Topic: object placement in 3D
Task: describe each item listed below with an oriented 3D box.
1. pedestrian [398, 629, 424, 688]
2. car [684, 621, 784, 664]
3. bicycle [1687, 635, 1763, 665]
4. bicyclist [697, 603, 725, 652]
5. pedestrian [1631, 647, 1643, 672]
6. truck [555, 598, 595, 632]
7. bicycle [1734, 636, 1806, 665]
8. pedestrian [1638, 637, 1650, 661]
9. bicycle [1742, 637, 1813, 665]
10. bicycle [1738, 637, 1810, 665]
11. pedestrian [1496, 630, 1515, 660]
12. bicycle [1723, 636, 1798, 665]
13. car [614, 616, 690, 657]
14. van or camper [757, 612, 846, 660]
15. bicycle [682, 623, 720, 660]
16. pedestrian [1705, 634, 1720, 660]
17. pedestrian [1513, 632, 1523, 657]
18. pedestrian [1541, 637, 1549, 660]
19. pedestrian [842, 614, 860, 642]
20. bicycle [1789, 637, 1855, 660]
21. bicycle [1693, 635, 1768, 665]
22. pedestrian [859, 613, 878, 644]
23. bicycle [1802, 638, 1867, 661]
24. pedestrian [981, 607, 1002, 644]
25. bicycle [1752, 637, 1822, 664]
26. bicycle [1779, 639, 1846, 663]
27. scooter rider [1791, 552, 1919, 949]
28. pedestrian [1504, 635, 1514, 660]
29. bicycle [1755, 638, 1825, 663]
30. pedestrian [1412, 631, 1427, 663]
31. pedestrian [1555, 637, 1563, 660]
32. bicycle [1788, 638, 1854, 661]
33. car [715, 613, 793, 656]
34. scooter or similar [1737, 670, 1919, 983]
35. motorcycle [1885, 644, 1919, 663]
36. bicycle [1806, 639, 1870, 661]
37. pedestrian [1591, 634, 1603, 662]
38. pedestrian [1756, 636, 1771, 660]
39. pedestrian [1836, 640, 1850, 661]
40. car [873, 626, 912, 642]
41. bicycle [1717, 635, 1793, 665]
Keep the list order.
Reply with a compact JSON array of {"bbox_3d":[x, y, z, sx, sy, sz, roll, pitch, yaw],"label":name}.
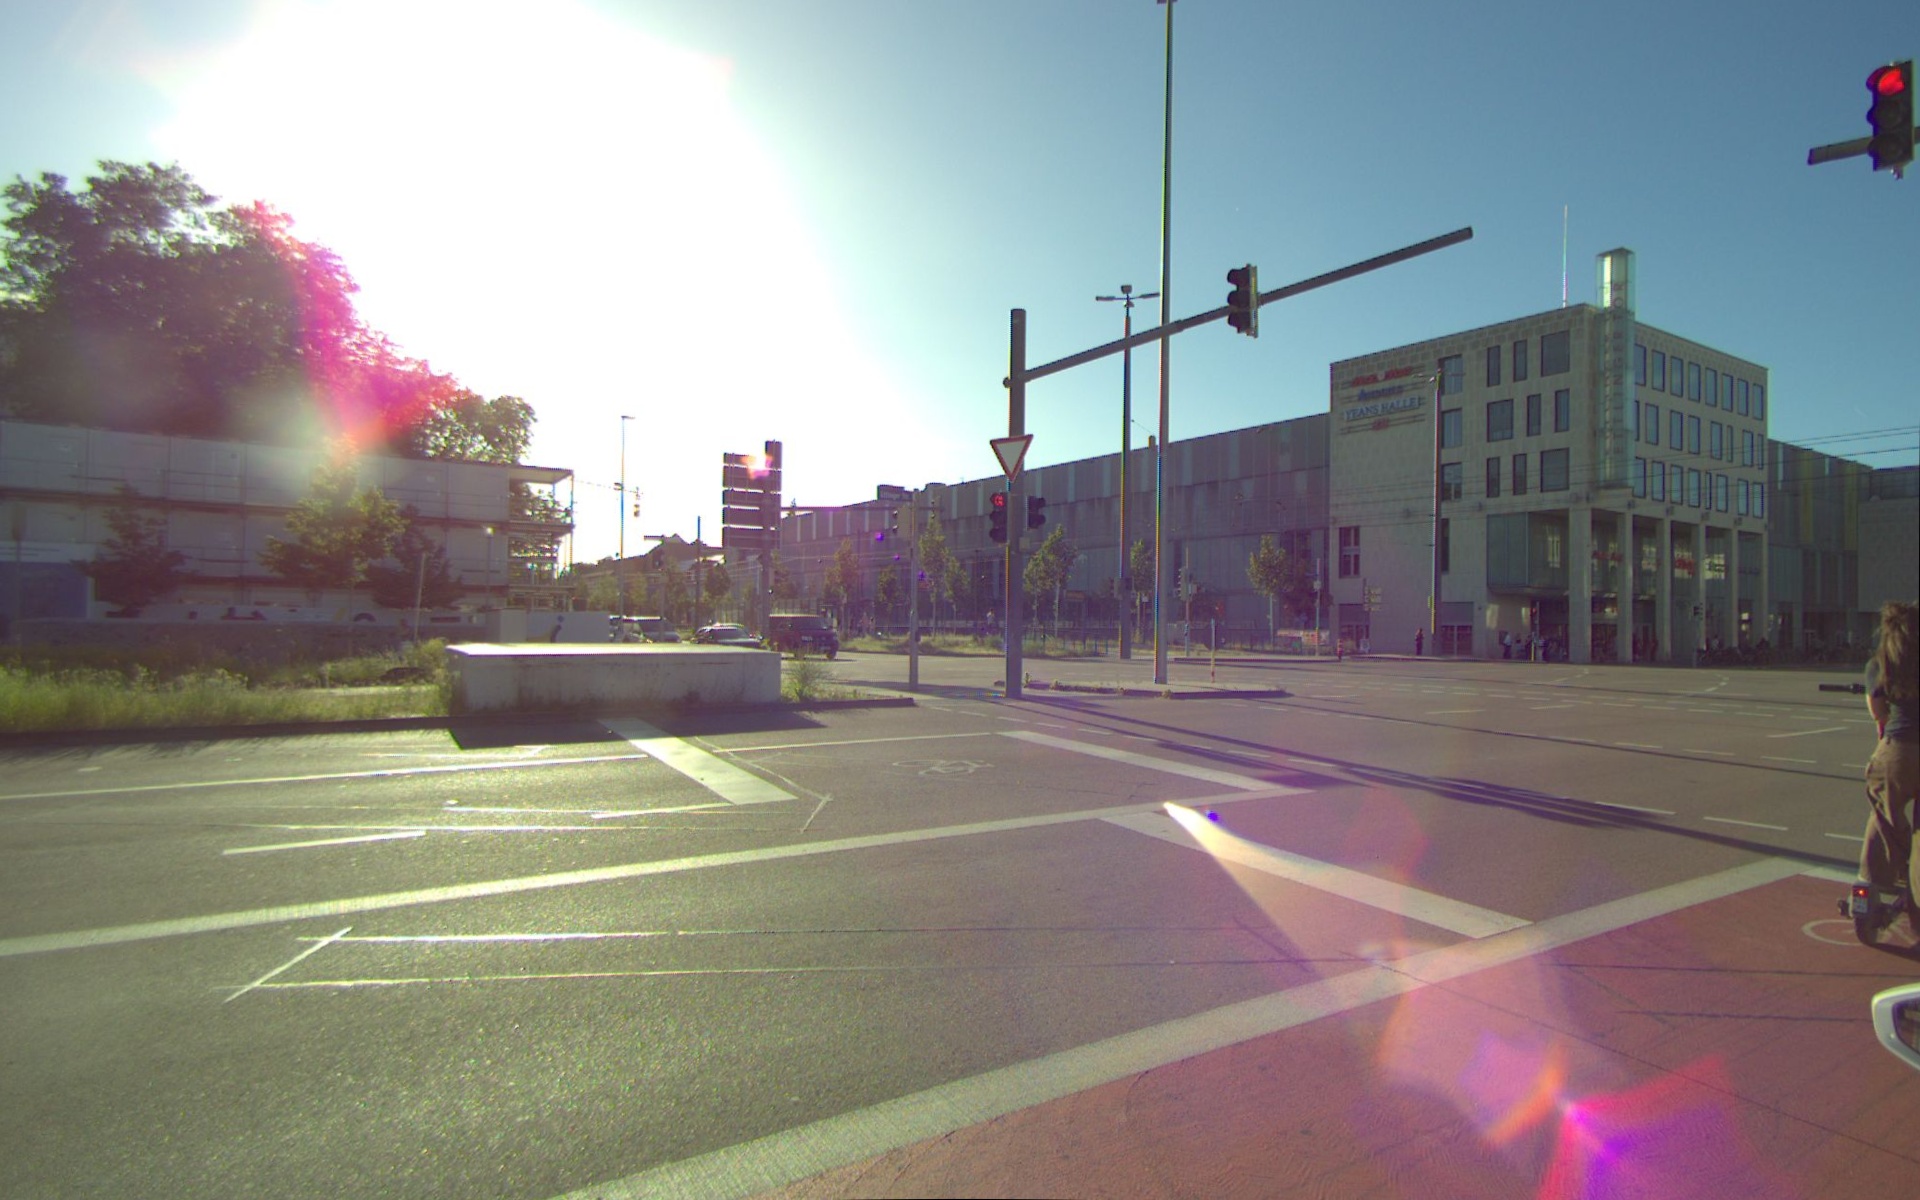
[{"bbox_3d":[-16.012,1.685,29.282,0.619,1.674,0.935,1,-1,-30],"label":"pedestrian"},{"bbox_3d":[-9.397,1.704,41.517,2.313,1.671,4.821,1,-2,-37],"label":"car"},{"bbox_3d":[45.700,2.975,60.037,1.107,1.719,3.465,1,-2,-38],"label":"bicycle"},{"bbox_3d":[-13.863,1.552,55.825,1.007,2.677,1.610,1,-1,-34],"label":"bicyclist"},{"bbox_3d":[44.274,3.891,65.667,0.508,1.606,0.479,1,-1,-34],"label":"pedestrian"},{"bbox_3d":[-33.478,1.328,87.255,1.979,2.875,6.293,1,-2,-33],"label":"truck"},{"bbox_3d":[51.120,3.188,63.429,0.979,1.719,3.462,1,-2,-40],"label":"bicycle"},{"bbox_3d":[44.930,3.214,65.971,0.508,1.530,0.479,1,-1,-34],"label":"pedestrian"},{"bbox_3d":[52.860,3.257,64.967,0.979,1.719,3.462,1,-2,-40],"label":"bicycle"},{"bbox_3d":[51.946,3.225,64.163,0.979,1.719,3.462,1,-2,-40],"label":"bicycle"},{"bbox_3d":[32.955,2.716,60.654,0.729,1.822,0.752,1,-1,-34],"label":"pedestrian"},{"bbox_3d":[49.144,3.078,61.744,1.107,1.719,3.465,1,-2,-38],"label":"bicycle"},{"bbox_3d":[-14.799,1.703,48.107,1.981,1.849,4.821,1,-2,-36],"label":"car"},{"bbox_3d":[-7.236,1.591,45.543,1.981,2.040,4.821,1,-2,-36],"label":"van or camper"},{"bbox_3d":[-14.782,2.350,57.191,1.007,2.040,3.472,1,-2,-33],"label":"bicycle"},{"bbox_3d":[49.988,3.112,66.708,0.775,1.664,0.691,0,-1,40],"label":"pedestrian"},{"bbox_3d":[35.384,2.839,63.721,0.452,1.586,0.419,1,-1,-32],"label":"pedestrian"},{"bbox_3d":[36.693,3.023,62.983,0.381,1.445,0.501,0,-1,35],"label":"pedestrian"},{"bbox_3d":[-7.162,1.824,65.741,0.889,1.855,0.787,1,-1,-35],"label":"pedestrian"},{"bbox_3d":[61.189,3.449,71.307,0.979,1.547,3.462,2,-2,-40],"label":"bicycle"},{"bbox_3d":[46.598,2.987,60.818,1.107,1.719,3.465,1,-2,-38],"label":"bicycle"},{"bbox_3d":[-5.585,1.734,61.438,0.889,1.855,0.787,1,-1,-35],"label":"pedestrian"},{"bbox_3d":[63.706,3.588,73.207,0.979,1.547,3.462,2,-2,-40],"label":"bicycle"},{"bbox_3d":[1.585,1.301,50.599,0.788,1.855,0.706,1,-1,-37],"label":"pedestrian"},{"bbox_3d":[54.506,3.319,66.257,0.979,1.719,3.462,1,-2,-40],"label":"bicycle"},{"bbox_3d":[58.875,3.477,69.394,0.979,1.547,3.462,2,-2,-40],"label":"bicycle"},{"bbox_3d":[4.639,0.689,4.856,0.801,1.798,0.725,1,-1,-30],"label":"scooter rider"},{"bbox_3d":[35.015,3.004,64.056,0.452,1.586,0.420,1,-1,-30],"label":"pedestrian"},{"bbox_3d":[55.257,3.327,66.925,0.979,1.547,3.462,2,-2,-40],"label":"bicycle"},{"bbox_3d":[24.430,2.489,53.410,0.543,1.716,0.521,1,-1,-40],"label":"pedestrian"},{"bbox_3d":[37.337,3.019,62.604,0.381,1.431,0.436,0,-1,34],"label":"pedestrian"},{"bbox_3d":[60.382,3.432,70.475,0.979,1.547,3.462,2,-2,-40],"label":"bicycle"},{"bbox_3d":[-10.390,1.695,50.423,1.981,2.040,4.821,1,-2,-36],"label":"car"},{"bbox_3d":[4.494,0.972,4.763,1.645,1.218,0.725,1,-1,-30],"label":"scooter or similar"},{"bbox_3d":[70.747,4.015,75.089,0.713,1.335,2.260,1,-2,-34],"label":"motorcycle"},{"bbox_3d":[64.506,3.644,73.856,0.979,1.547,3.462,2,-2,-40],"label":"bicycle"},{"bbox_3d":[37.470,2.809,59.083,0.532,1.664,0.549,0,-1,28],"label":"pedestrian"},{"bbox_3d":[56.722,3.388,70.894,0.689,1.664,0.648,1,-1,-38],"label":"pedestrian"},{"bbox_3d":[69.850,3.984,79.448,0.688,1.664,0.692,1,-1,-36],"label":"pedestrian"},{"bbox_3d":[-6.892,3.460,102.847,1.980,1.628,4.437,2,-2,-35],"label":"car"},{"bbox_3d":[48.216,3.011,60.943,1.107,1.719,3.465,1,-2,-38],"label":"bicycle"}]
